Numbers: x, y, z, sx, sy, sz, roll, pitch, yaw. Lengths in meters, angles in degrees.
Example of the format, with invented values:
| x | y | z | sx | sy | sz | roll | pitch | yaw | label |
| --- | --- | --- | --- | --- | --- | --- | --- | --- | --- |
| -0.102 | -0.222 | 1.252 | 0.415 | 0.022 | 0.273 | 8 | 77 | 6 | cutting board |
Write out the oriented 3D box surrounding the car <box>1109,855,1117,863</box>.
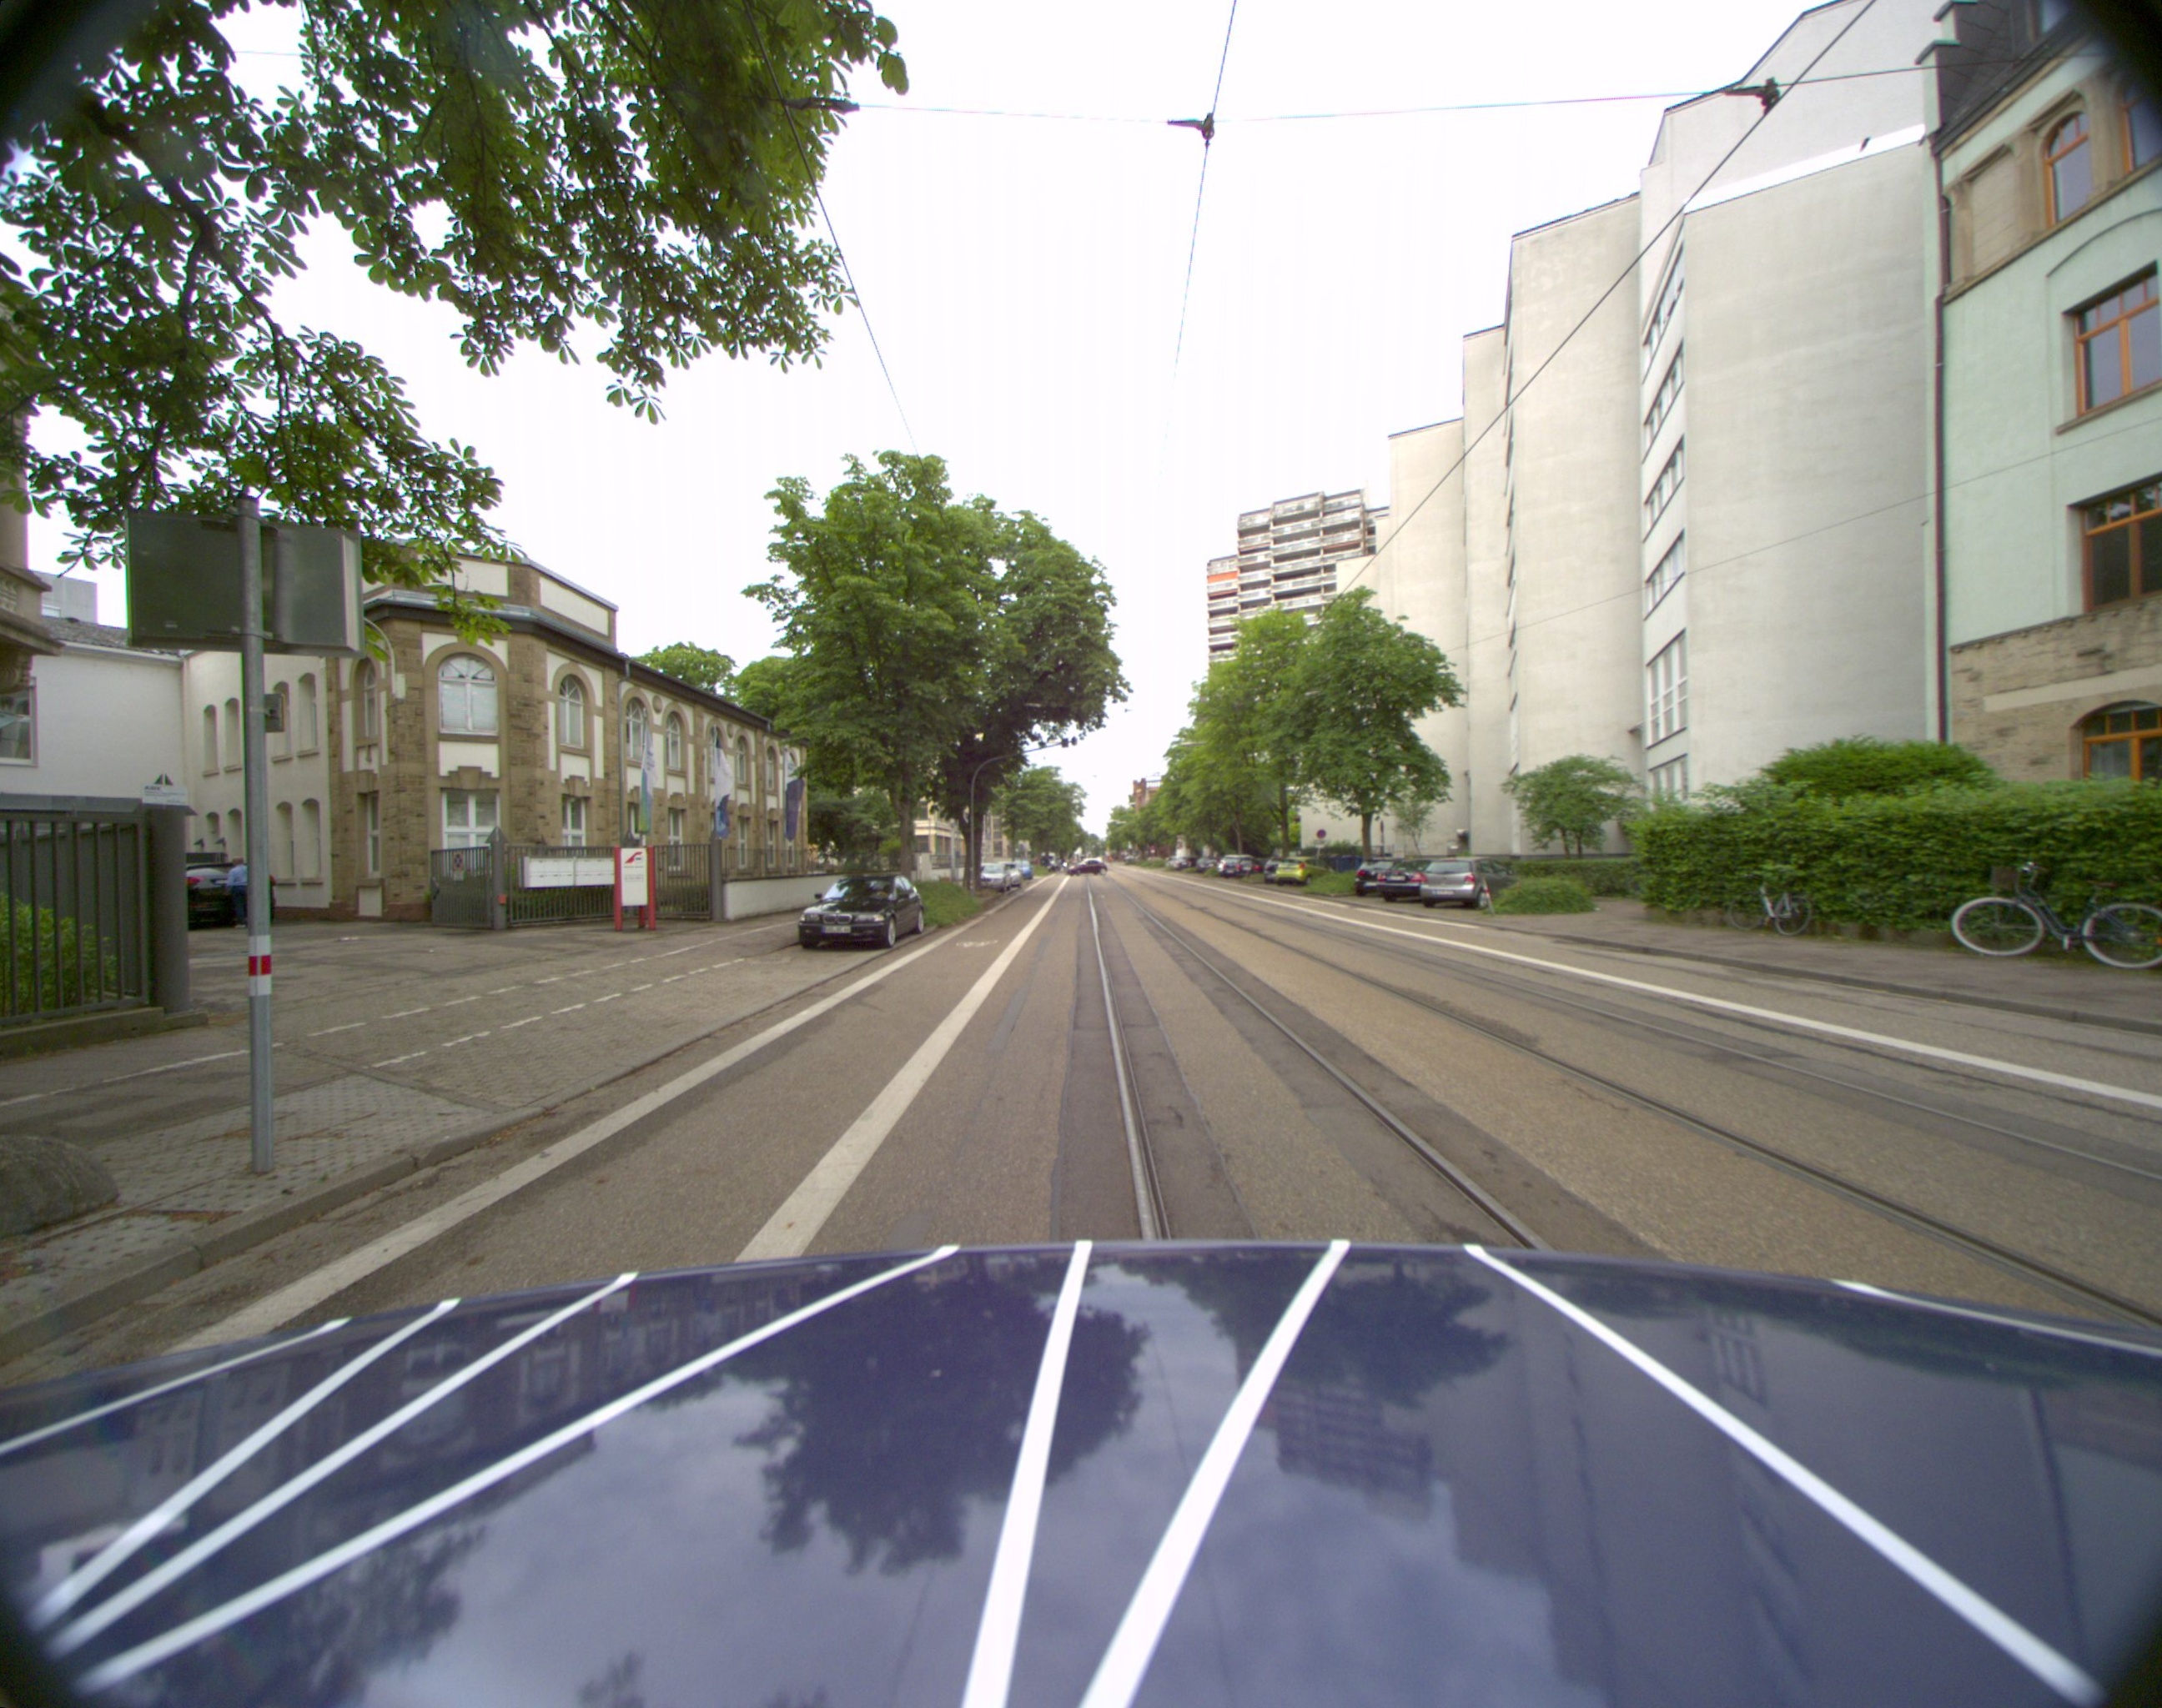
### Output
| x | y | z | sx | sy | sz | roll | pitch | yaw | label |
| --- | --- | --- | --- | --- | --- | --- | --- | --- | --- |
| 9.449 | 1.450 | 224.270 | 1.906 | 2.002 | 3.999 | -2 | 1 | 1 | car |

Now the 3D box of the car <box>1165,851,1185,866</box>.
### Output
| x | y | z | sx | sy | sz | roll | pitch | yaw | label |
| --- | --- | --- | --- | --- | --- | --- | --- | --- | --- |
| 10.445 | 0.475 | 84.491 | 1.694 | 1.611 | 3.999 | -1 | 0 | -1 | car |

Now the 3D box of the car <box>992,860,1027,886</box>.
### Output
| x | y | z | sx | sy | sz | roll | pitch | yaw | label |
| --- | --- | --- | --- | --- | --- | --- | --- | --- | --- |
| -4.222 | 1.104 | 45.317 | 1.606 | 1.416 | 3.837 | 1 | 0 | 1 | car |

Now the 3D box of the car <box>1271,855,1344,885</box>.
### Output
| x | y | z | sx | sy | sz | roll | pitch | yaw | label |
| --- | --- | --- | --- | --- | --- | --- | --- | --- | --- |
| 11.428 | 0.777 | 38.167 | 4.008 | 1.387 | 1.690 | -1 | 0 | -43 | car |

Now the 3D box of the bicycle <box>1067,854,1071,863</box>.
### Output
| x | y | z | sx | sy | sz | roll | pitch | yaw | label |
| --- | --- | --- | --- | --- | --- | --- | --- | --- | --- |
| -1.698 | 0.595 | 107.716 | 0.414 | 1.197 | 1.707 | -1 | 0 | 1 | bicycle |

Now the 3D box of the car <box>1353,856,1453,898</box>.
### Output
| x | y | z | sx | sy | sz | roll | pitch | yaw | label |
| --- | --- | --- | --- | --- | --- | --- | --- | --- | --- |
| 11.864 | 0.794 | 27.932 | 4.008 | 1.395 | 1.691 | -1 | 0 | -39 | car |

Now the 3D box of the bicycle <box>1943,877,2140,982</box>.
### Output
| x | y | z | sx | sy | sz | roll | pitch | yaw | label |
| --- | --- | --- | --- | --- | --- | --- | --- | --- | --- |
| 11.112 | 0.828 | 8.869 | 0.360 | 1.077 | 1.546 | -1 | 0 | 0 | bicycle |

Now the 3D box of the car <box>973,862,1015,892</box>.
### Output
| x | y | z | sx | sy | sz | roll | pitch | yaw | label |
| --- | --- | --- | --- | --- | --- | --- | --- | --- | --- |
| -4.294 | 1.137 | 38.178 | 1.606 | 1.362 | 3.837 | 1 | 0 | 1 | car |

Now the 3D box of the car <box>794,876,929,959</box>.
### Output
| x | y | z | sx | sy | sz | roll | pitch | yaw | label |
| --- | --- | --- | --- | --- | --- | --- | --- | --- | --- |
| -4.342 | 1.198 | 15.604 | 1.606 | 1.362 | 3.837 | 1 | 0 | 1 | car |

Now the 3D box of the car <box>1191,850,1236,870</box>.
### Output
| x | y | z | sx | sy | sz | roll | pitch | yaw | label |
| --- | --- | --- | --- | --- | --- | --- | --- | --- | --- |
| 11.300 | 0.483 | 64.883 | 4.008 | 1.611 | 1.690 | -1 | 0 | -43 | car |

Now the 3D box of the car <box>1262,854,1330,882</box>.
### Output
| x | y | z | sx | sy | sz | roll | pitch | yaw | label |
| --- | --- | --- | --- | --- | --- | --- | --- | --- | --- |
| 11.676 | 0.734 | 41.215 | 4.008 | 1.434 | 1.690 | -1 | 0 | -43 | car |

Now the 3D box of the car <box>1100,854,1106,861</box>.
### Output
| x | y | z | sx | sy | sz | roll | pitch | yaw | label |
| --- | --- | --- | --- | --- | --- | --- | --- | --- | --- |
| 6.866 | 1.099 | 240.095 | 1.808 | 2.002 | 3.999 | -2 | 1 | 1 | car |

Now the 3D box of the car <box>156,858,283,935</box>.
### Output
| x | y | z | sx | sy | sz | roll | pitch | yaw | label |
| --- | --- | --- | --- | --- | --- | --- | --- | --- | --- |
| -23.482 | 1.067 | 20.671 | 3.988 | 1.874 | 2.004 | -1 | 0 | 38 | car |

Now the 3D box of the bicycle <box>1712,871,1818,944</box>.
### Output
| x | y | z | sx | sy | sz | roll | pitch | yaw | label |
| --- | --- | --- | --- | --- | --- | --- | --- | --- | --- |
| 11.160 | 0.846 | 12.458 | 0.360 | 1.077 | 1.546 | -1 | 0 | 0 | bicycle |

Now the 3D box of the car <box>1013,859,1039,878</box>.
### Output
| x | y | z | sx | sy | sz | roll | pitch | yaw | label |
| --- | --- | --- | --- | --- | --- | --- | --- | --- | --- |
| -4.170 | 1.101 | 57.831 | 1.606 | 1.362 | 3.837 | 1 | 0 | 1 | car |

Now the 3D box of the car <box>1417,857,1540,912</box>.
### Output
| x | y | z | sx | sy | sz | roll | pitch | yaw | label |
| --- | --- | --- | --- | --- | --- | --- | --- | --- | --- |
| 11.517 | 0.825 | 21.935 | 4.008 | 1.395 | 1.691 | -1 | 0 | -39 | car |

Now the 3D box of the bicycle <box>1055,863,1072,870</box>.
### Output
| x | y | z | sx | sy | sz | roll | pitch | yaw | label |
| --- | --- | --- | --- | --- | --- | --- | --- | --- | --- |
| -1.966 | 1.391 | 86.679 | 1.890 | 0.784 | 0.568 | -1 | 0 | -6 | bicycle |

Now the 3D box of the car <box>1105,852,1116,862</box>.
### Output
| x | y | z | sx | sy | sz | roll | pitch | yaw | label |
| --- | --- | --- | --- | --- | --- | --- | --- | --- | --- |
| 5.144 | 0.494 | 131.551 | 1.723 | 1.691 | 3.372 | -1 | 0 | 1 | car |

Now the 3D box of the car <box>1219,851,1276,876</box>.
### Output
| x | y | z | sx | sy | sz | roll | pitch | yaw | label |
| --- | --- | --- | --- | --- | --- | --- | --- | --- | --- |
| 11.201 | 0.620 | 50.942 | 4.008 | 1.611 | 1.690 | -1 | 0 | -43 | car |

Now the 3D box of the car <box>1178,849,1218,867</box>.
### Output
| x | y | z | sx | sy | sz | roll | pitch | yaw | label |
| --- | --- | --- | --- | --- | --- | --- | --- | --- | --- |
| 11.465 | 0.391 | 74.187 | 4.008 | 1.611 | 1.690 | -1 | 0 | -43 | car |

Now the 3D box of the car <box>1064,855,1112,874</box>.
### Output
| x | y | z | sx | sy | sz | roll | pitch | yaw | label |
| --- | --- | --- | --- | --- | --- | --- | --- | --- | --- |
| 0.618 | 0.900 | 66.447 | 3.779 | 1.427 | 1.605 | -3 | 0 | -17 | car |

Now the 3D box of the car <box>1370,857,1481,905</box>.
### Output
| x | y | z | sx | sy | sz | roll | pitch | yaw | label |
| --- | --- | --- | --- | --- | --- | --- | --- | --- | --- |
| 11.304 | 0.822 | 24.827 | 4.008 | 1.395 | 1.691 | -1 | 0 | -39 | car |

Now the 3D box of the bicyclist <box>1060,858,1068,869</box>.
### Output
| x | y | z | sx | sy | sz | roll | pitch | yaw | label |
| --- | --- | --- | --- | --- | --- | --- | --- | --- | --- |
| -1.929 | 1.086 | 86.671 | 0.875 | 1.247 | 0.752 | -1 | 0 | -6 | bicyclist |
